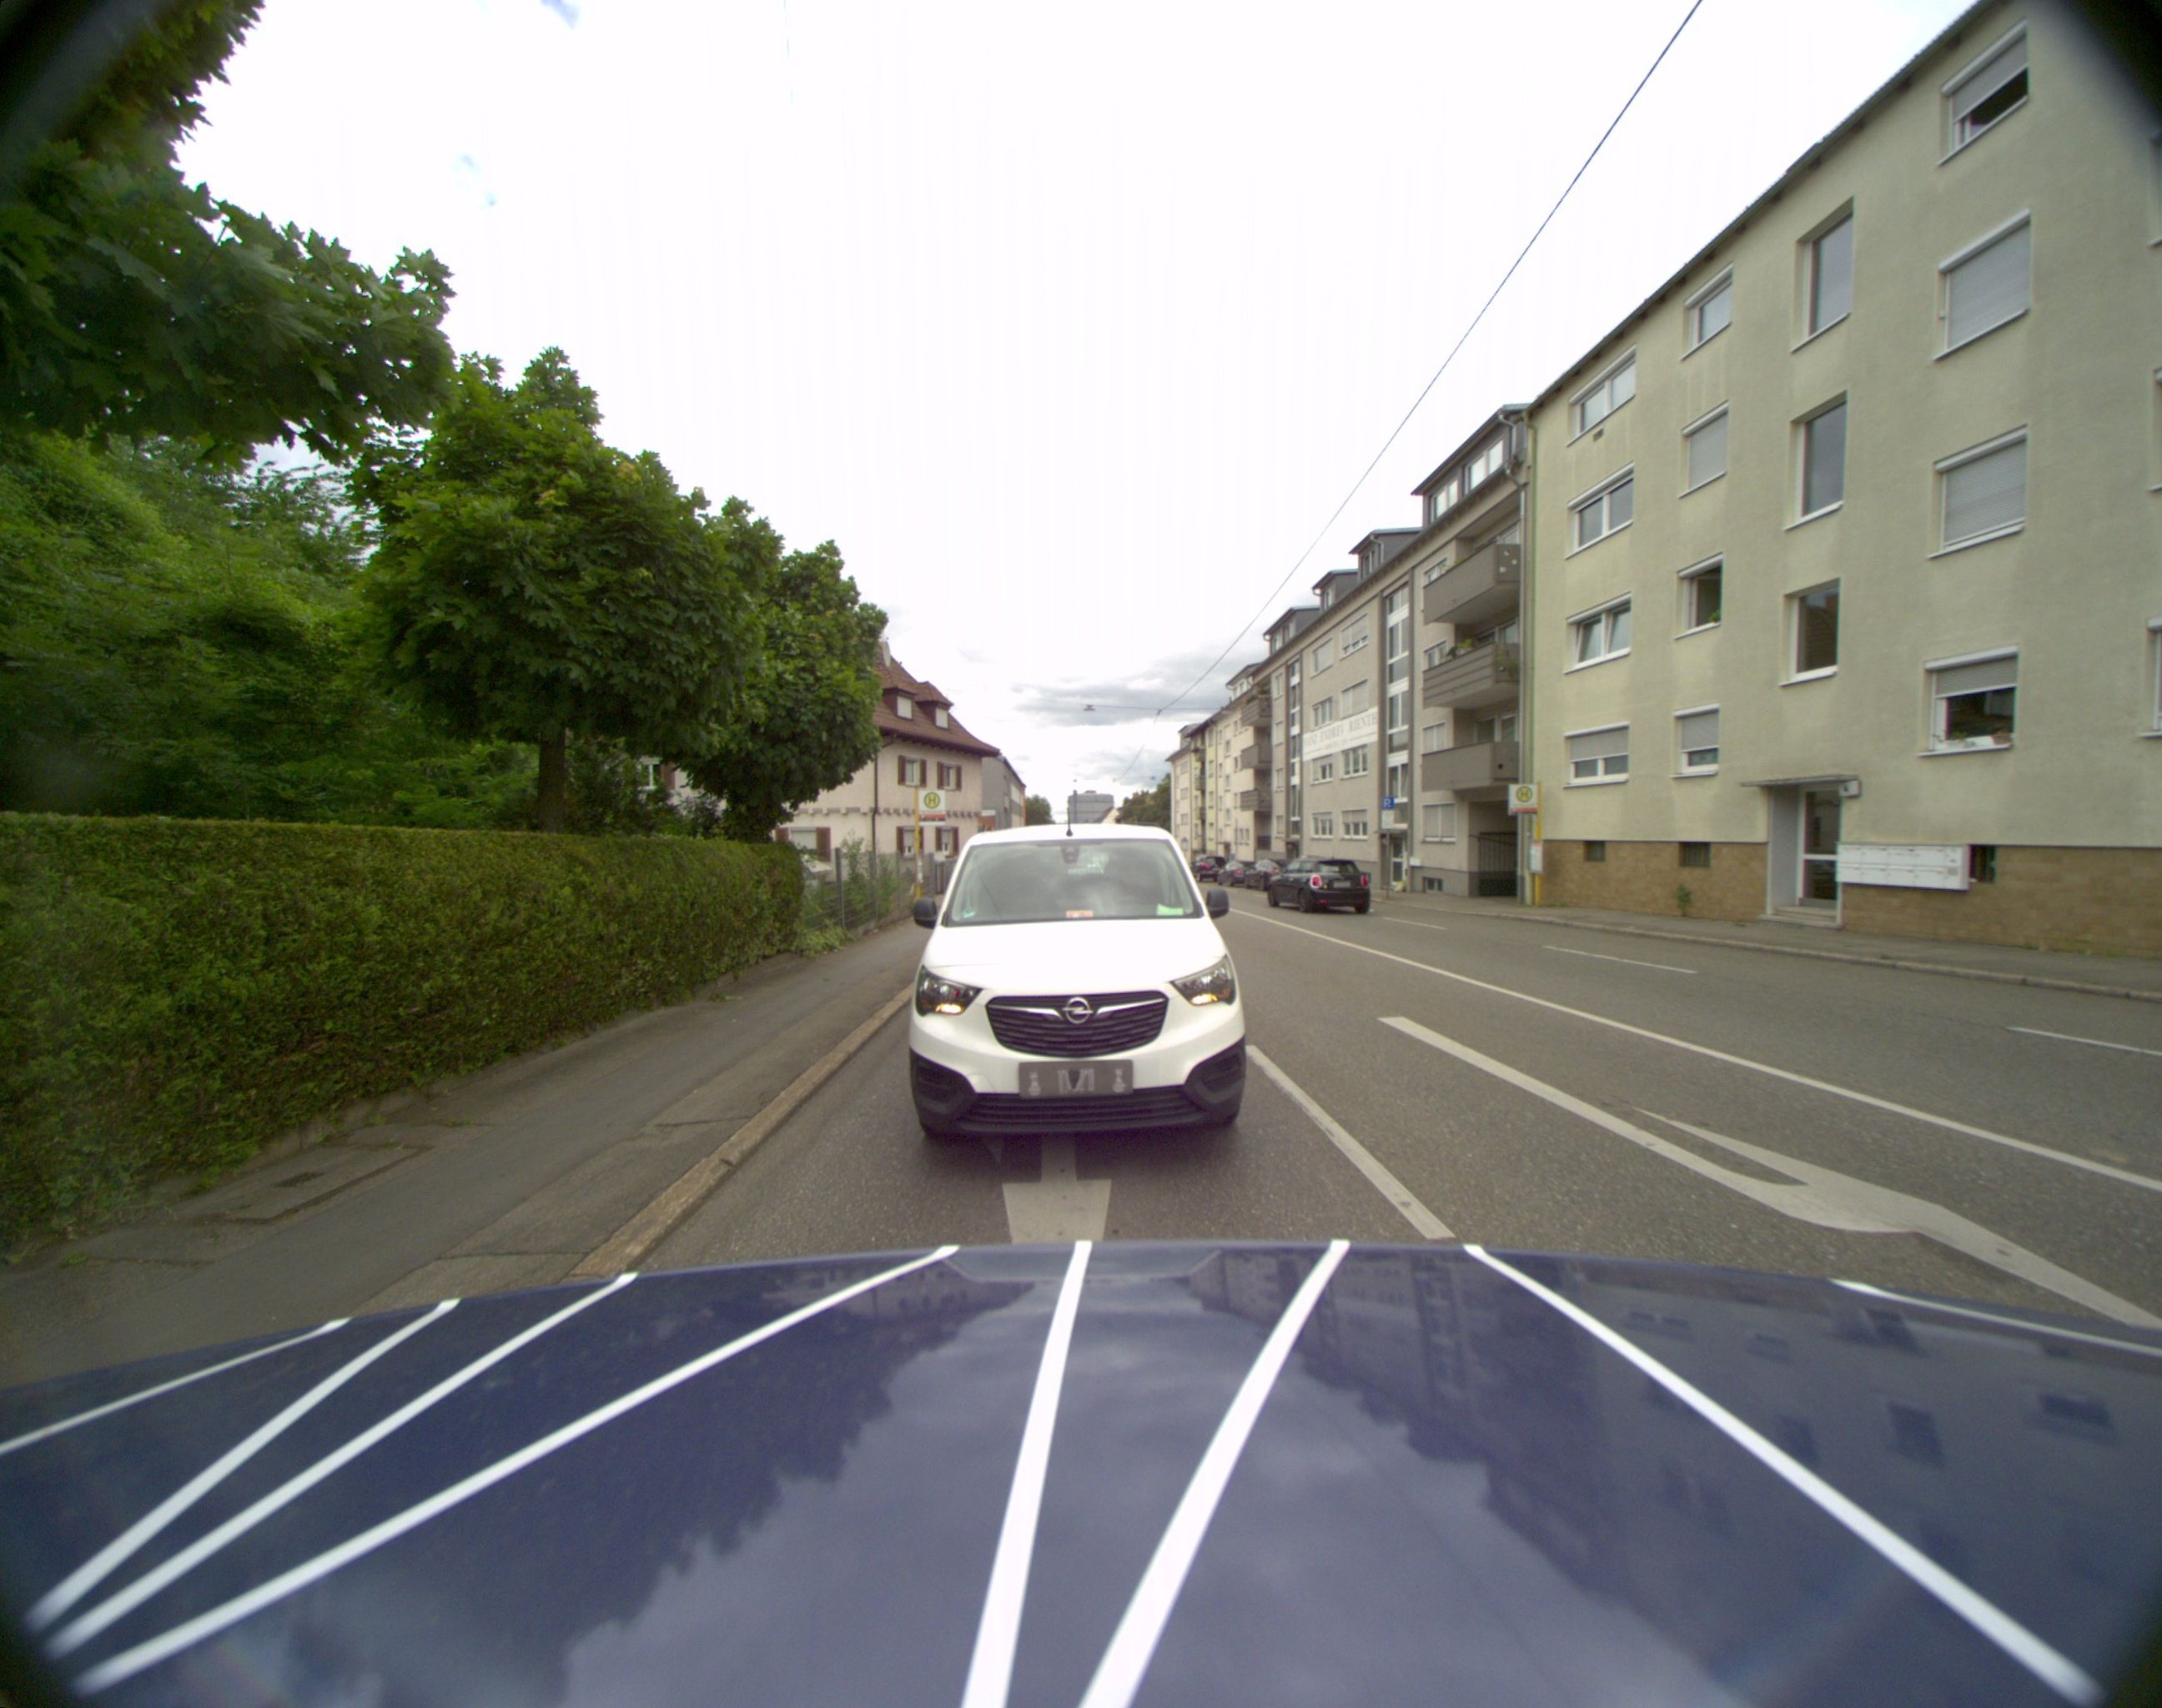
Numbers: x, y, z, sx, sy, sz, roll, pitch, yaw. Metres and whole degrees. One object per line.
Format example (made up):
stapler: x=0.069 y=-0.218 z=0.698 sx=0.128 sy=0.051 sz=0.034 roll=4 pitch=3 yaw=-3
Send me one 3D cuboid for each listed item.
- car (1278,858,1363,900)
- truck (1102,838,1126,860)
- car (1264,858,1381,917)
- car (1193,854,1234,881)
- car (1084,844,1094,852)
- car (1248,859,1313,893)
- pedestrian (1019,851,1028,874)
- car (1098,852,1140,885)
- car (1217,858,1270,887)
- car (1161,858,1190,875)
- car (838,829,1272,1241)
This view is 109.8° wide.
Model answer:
car: x=8.900 y=0.888 z=28.568 sx=1.776 sy=1.403 sz=3.685 roll=0 pitch=1 yaw=-5
truck: x=4.017 y=-0.622 z=93.055 sx=2.547 sy=2.522 sz=5.492 roll=0 pitch=1 yaw=-1
car: x=6.398 y=0.830 z=20.570 sx=1.776 sy=1.395 sz=3.642 roll=0 pitch=1 yaw=-5
car: x=8.433 y=0.844 z=48.679 sx=1.776 sy=1.591 sz=3.538 roll=0 pitch=1 yaw=-5
car: x=1.869 y=-1.467 z=178.047 sx=1.999 sy=1.892 sz=3.998 roll=-1 pitch=0 yaw=-4
car: x=8.728 y=0.923 z=33.517 sx=1.669 sy=1.368 sz=3.538 roll=0 pitch=1 yaw=-5
pedestrian: x=-4.541 y=0.677 z=60.134 sx=0.647 sy=1.830 sz=0.592 roll=-1 pitch=1 yaw=3
car: x=1.995 y=0.739 z=40.980 sx=1.863 sy=1.601 sz=4.478 roll=-2 pitch=1 yaw=-2
car: x=8.389 y=0.919 z=39.545 sx=1.776 sy=1.395 sz=3.538 roll=0 pitch=1 yaw=-5
car: x=8.117 y=1.033 z=65.605 sx=1.776 sy=1.395 sz=3.757 roll=0 pitch=1 yaw=-5
car: x=-0.081 y=0.784 z=5.730 sx=1.862 sy=1.772 sz=4.711 roll=-2 pitch=1 yaw=1
